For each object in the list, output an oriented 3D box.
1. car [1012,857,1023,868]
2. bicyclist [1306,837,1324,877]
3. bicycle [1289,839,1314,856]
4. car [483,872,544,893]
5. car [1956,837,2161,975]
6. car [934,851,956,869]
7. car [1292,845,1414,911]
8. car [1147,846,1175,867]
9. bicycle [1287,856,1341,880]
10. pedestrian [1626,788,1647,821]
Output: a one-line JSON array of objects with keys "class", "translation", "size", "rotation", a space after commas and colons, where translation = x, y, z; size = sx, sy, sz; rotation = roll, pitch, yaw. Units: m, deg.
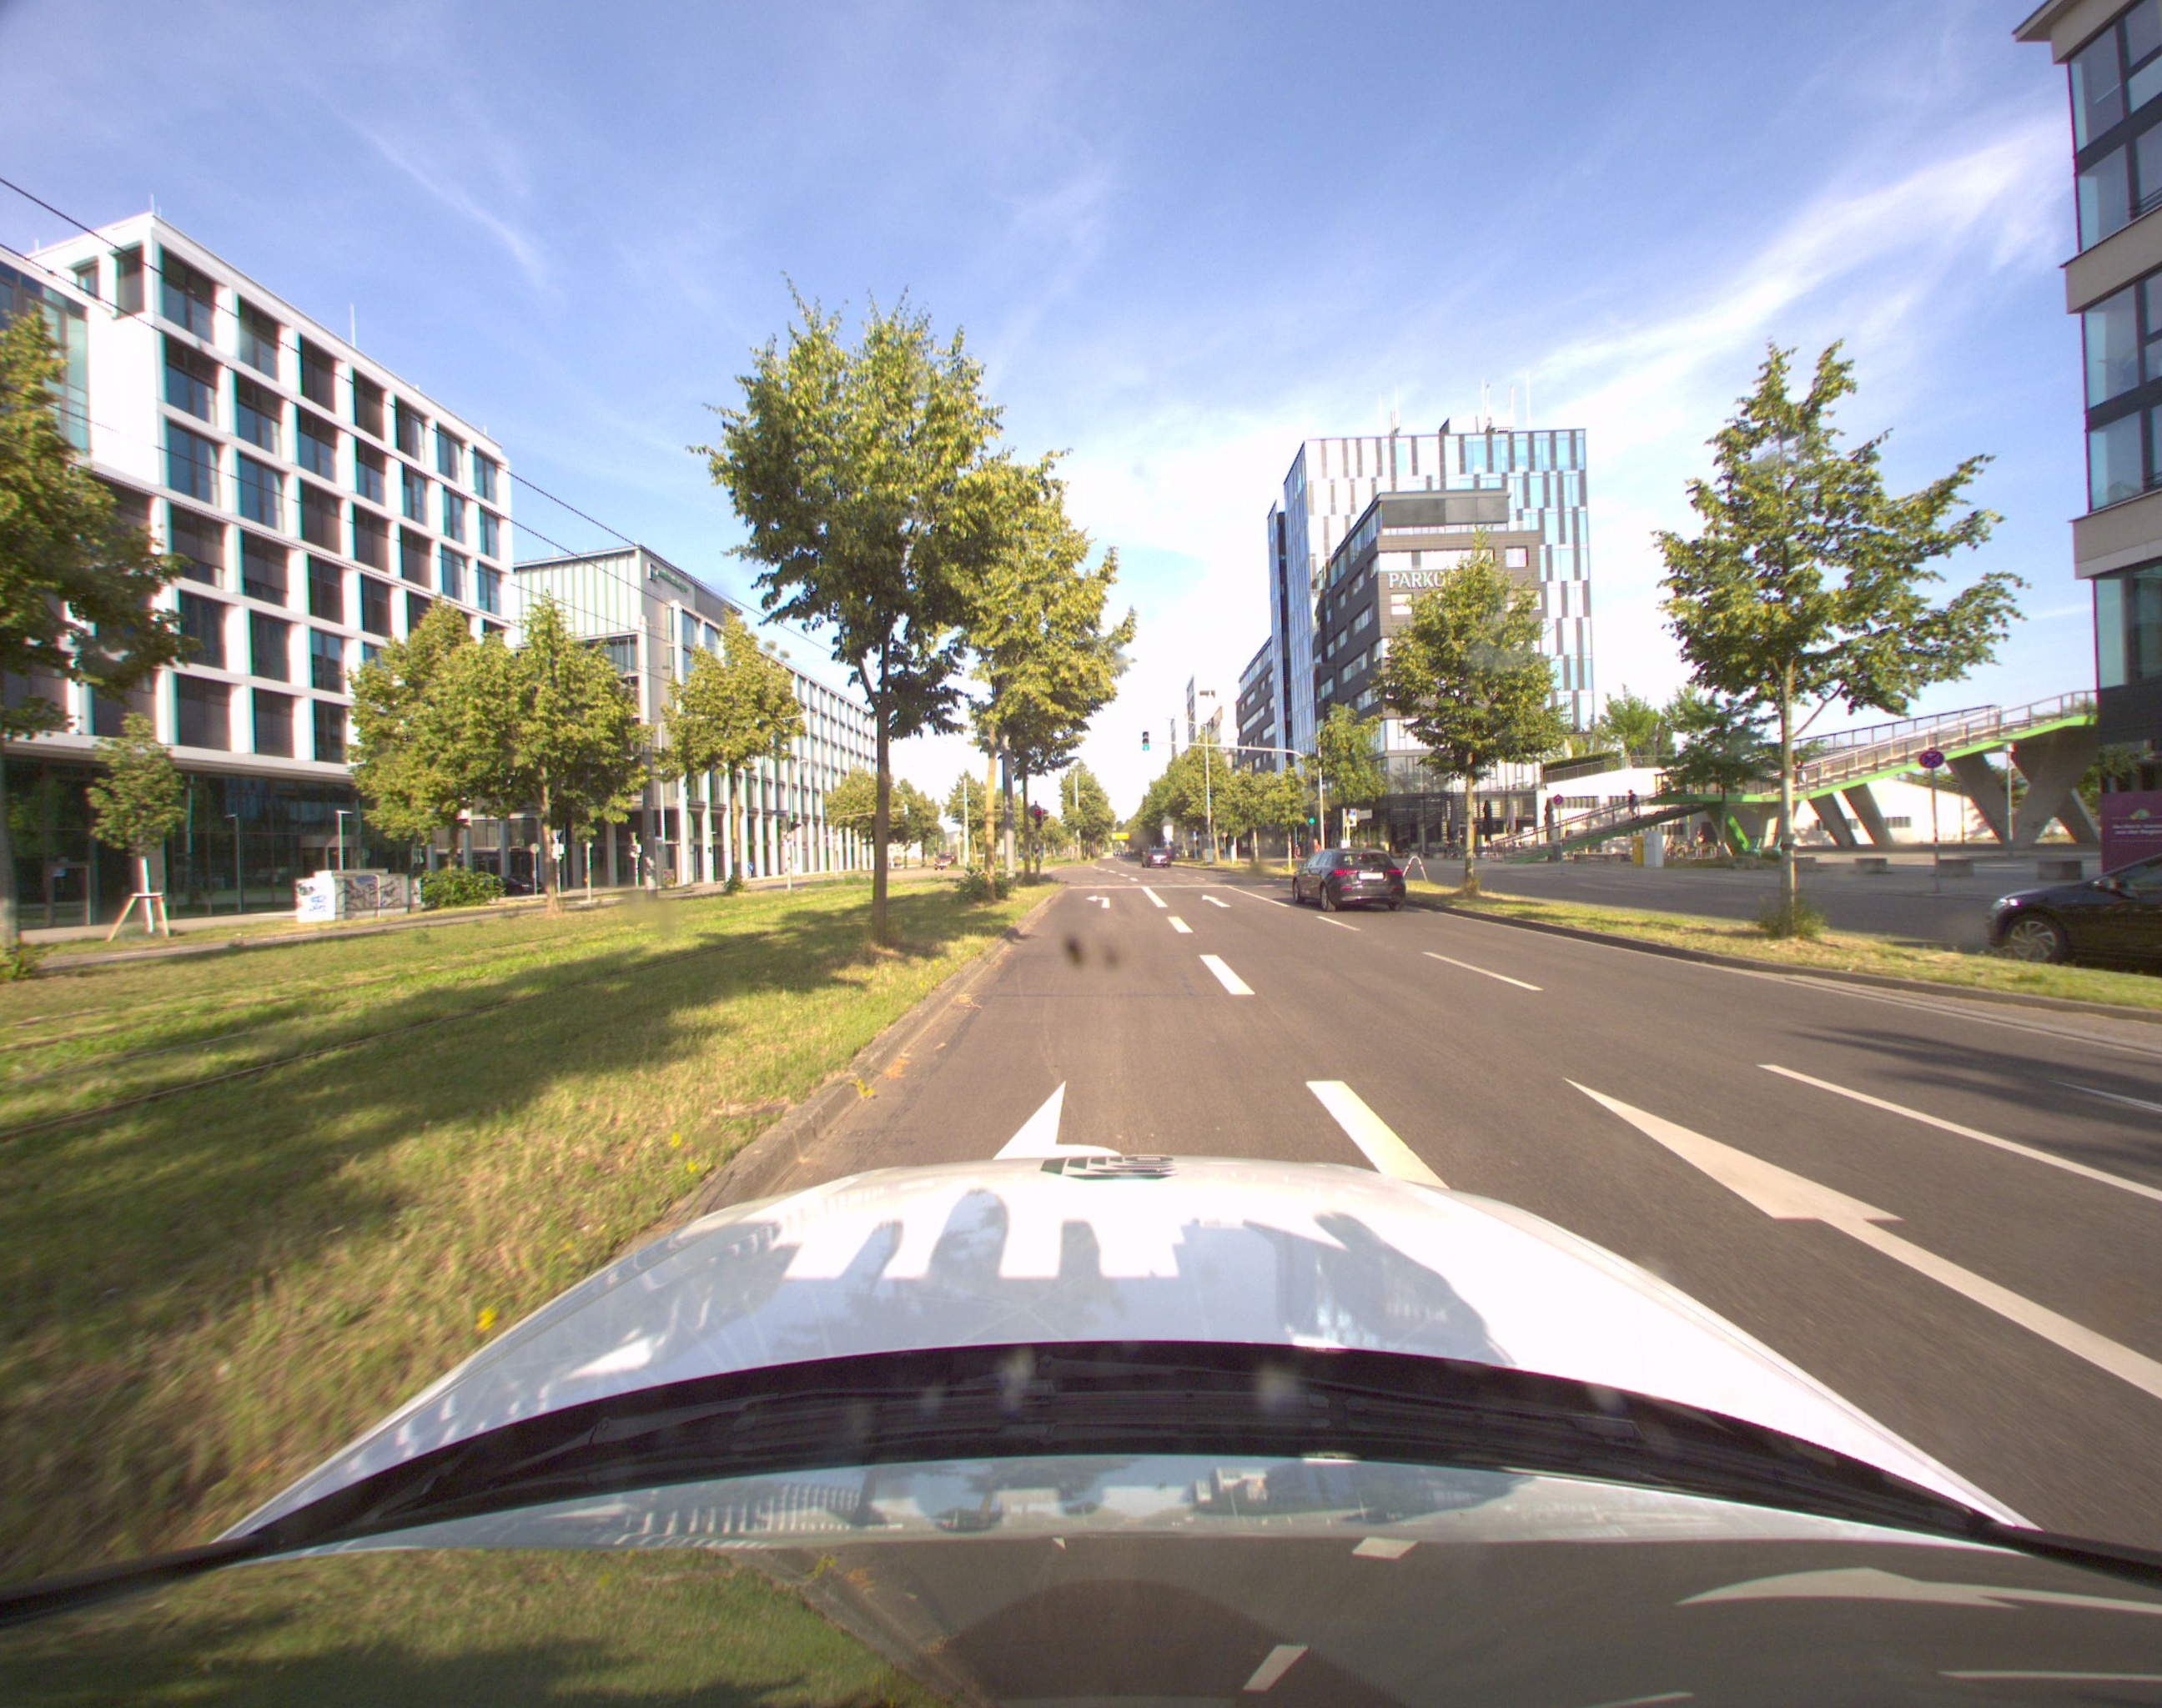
[{"class": "car", "translation": [-12.292, 1.578, 157.254], "size": [1.772, 2.014, 4.001], "rotation": [0, 0, 2]}, {"class": "bicyclist", "translation": [9.905, 0.122, 34.456], "size": [0.573, 1.707, 0.540], "rotation": [0, 0, -2]}, {"class": "bicycle", "translation": [21.825, -0.638, 80.658], "size": [2.419, 1.746, 0.556], "rotation": [0, 0, 11]}, {"class": "car", "translation": [-40.315, 2.024, 57.893], "size": [3.478, 1.424, 1.580], "rotation": [0, 0, 11]}, {"class": "car", "translation": [11.570, 0.516, 7.969], "size": [1.601, 1.370, 4.158], "rotation": [0, 0, 1]}, {"class": "car", "translation": [-13.802, 0.624, 82.807], "size": [1.679, 1.775, 3.880], "rotation": [0, 0, -2]}, {"class": "car", "translation": [6.414, 0.534, 19.666], "size": [1.767, 1.424, 3.963], "rotation": [0, 0, 2]}, {"class": "car", "translation": [5.879, 0.187, 60.156], "size": [1.852, 1.524, 3.787], "rotation": [0, 0, 2]}, {"class": "bicycle", "translation": [9.868, 0.585, 34.490], "size": [2.128, 1.013, 0.571], "rotation": [0, 0, -2]}, {"class": "pedestrian", "translation": [29.870, -2.650, 43.790], "size": [0.688, 1.692, 0.790], "rotation": [0, 0, 15]}]
